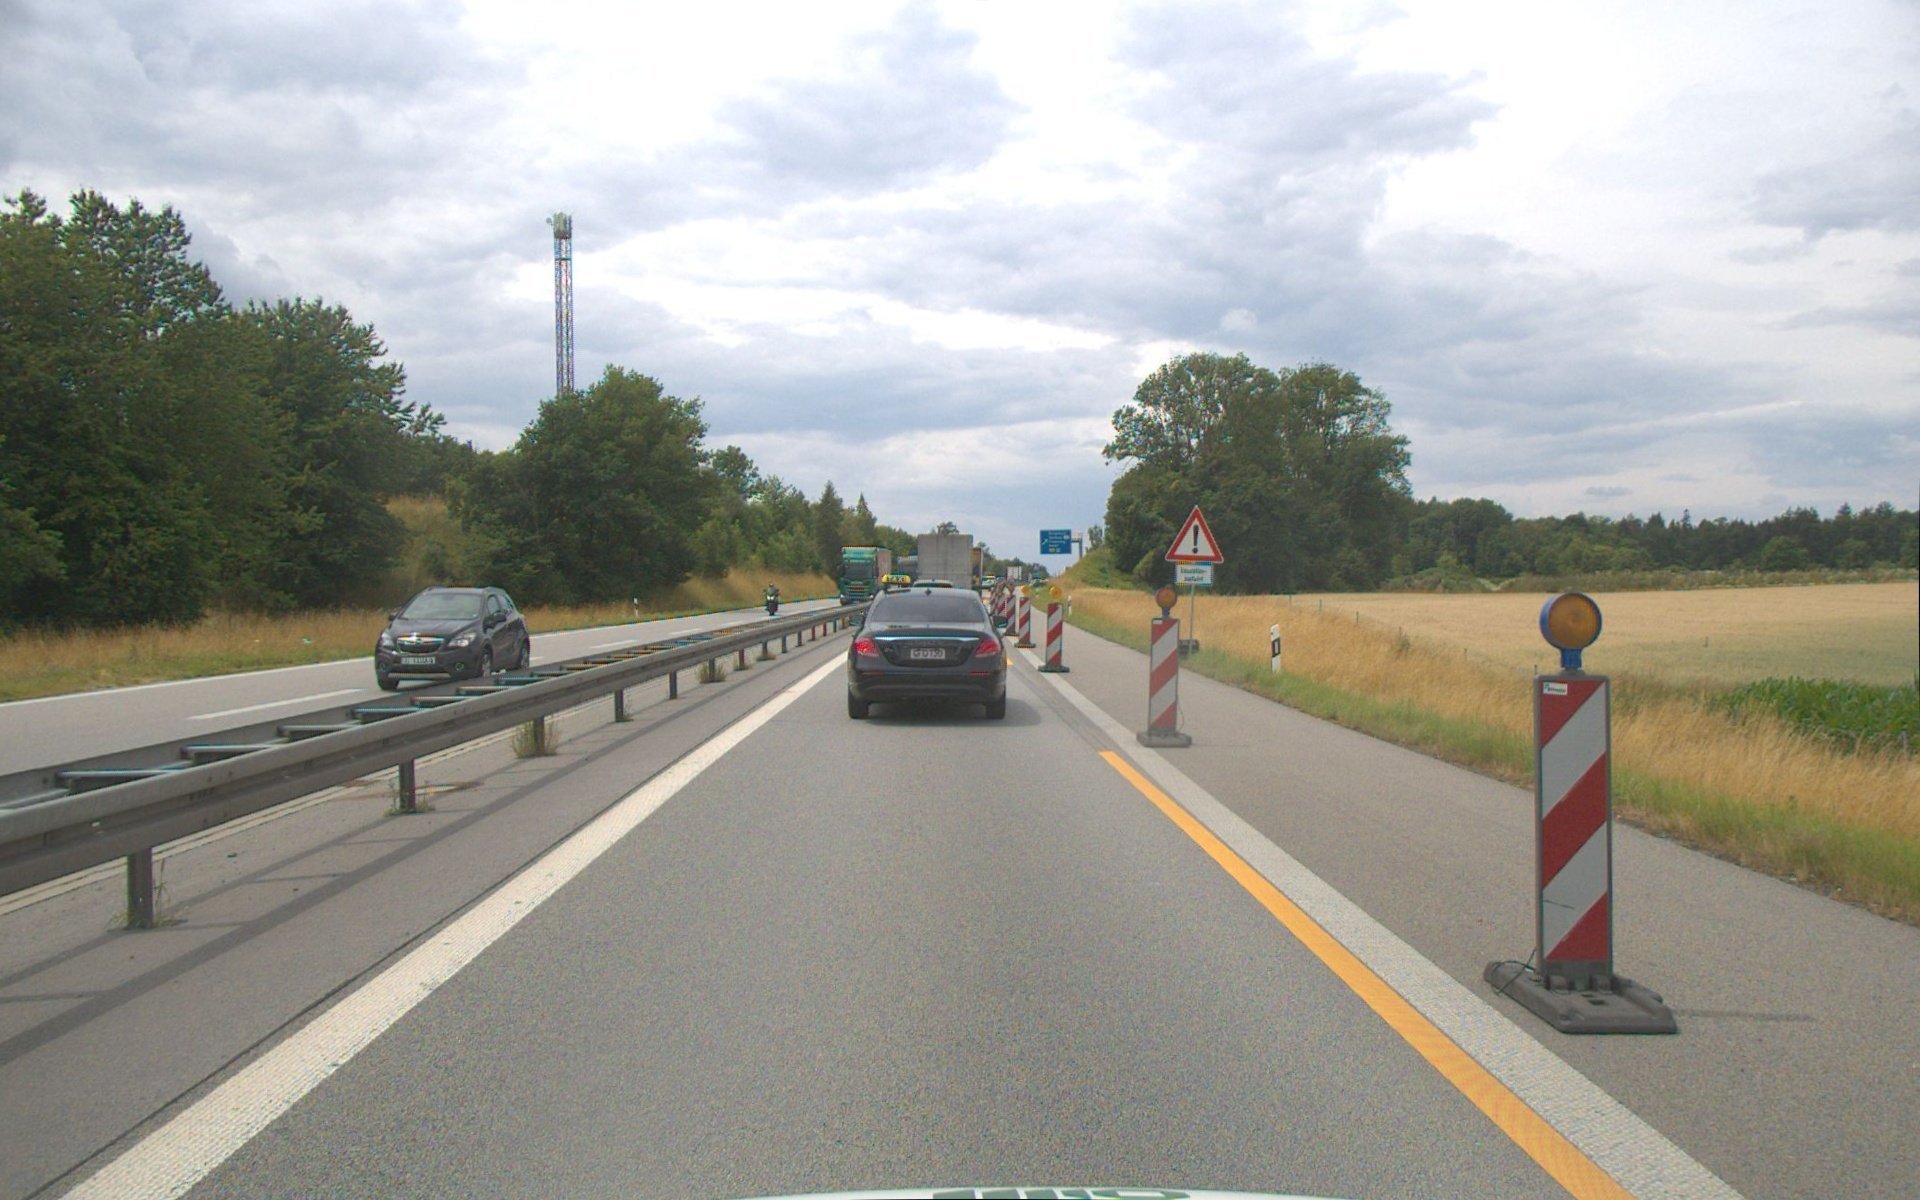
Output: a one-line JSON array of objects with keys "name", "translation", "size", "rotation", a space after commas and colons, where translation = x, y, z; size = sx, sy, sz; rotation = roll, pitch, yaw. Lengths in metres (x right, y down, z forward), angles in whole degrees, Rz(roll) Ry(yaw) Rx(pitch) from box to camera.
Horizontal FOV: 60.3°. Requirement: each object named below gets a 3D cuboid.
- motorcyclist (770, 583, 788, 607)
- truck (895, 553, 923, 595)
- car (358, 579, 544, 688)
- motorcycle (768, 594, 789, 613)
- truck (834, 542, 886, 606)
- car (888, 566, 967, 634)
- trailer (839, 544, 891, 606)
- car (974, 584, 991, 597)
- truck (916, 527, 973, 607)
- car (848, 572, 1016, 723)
[{"name": "motorcyclist", "translation": [-9.522, -0.276, 86.865], "size": [0.843, 1.230, 0.960], "rotation": [1, 0, -1]}, {"name": "truck", "translation": [-5.379, -2.747, 176.051], "size": [2.585, 4.243, 6.986], "rotation": [1, 0, 1]}, {"name": "car", "translation": [-8.664, 0.547, 28.551], "size": [1.953, 1.713, 4.232], "rotation": [1, 0, -2]}, {"name": "motorcycle", "translation": [-9.537, 0.161, 86.942], "size": [0.838, 0.950, 2.724], "rotation": [1, 1, -1]}, {"name": "truck", "translation": [-7.004, -1.767, 116.821], "size": [3.058, 4.287, 6.782], "rotation": [1, 0, 1]}, {"name": "car", "translation": [-1.085, 0.003, 52.538], "size": [1.957, 2.049, 3.991], "rotation": [1, 0, -9]}, {"name": "trailer", "translation": [-6.940, -1.763, 122.285], "size": [3.086, 4.287, 11.641], "rotation": [1, 0, 0]}, {"name": "car", "translation": [2.635, -1.071, 190.765], "size": [1.617, 1.420, 3.702], "rotation": [1, 0, -5]}, {"name": "truck", "translation": [-0.779, -1.503, 78.287], "size": [2.535, 3.586, 4.811], "rotation": [1, 0, -2]}, {"name": "car", "translation": [-0.378, 0.513, 19.618], "size": [1.760, 1.587, 3.998], "rotation": [1, 0, -2]}]
